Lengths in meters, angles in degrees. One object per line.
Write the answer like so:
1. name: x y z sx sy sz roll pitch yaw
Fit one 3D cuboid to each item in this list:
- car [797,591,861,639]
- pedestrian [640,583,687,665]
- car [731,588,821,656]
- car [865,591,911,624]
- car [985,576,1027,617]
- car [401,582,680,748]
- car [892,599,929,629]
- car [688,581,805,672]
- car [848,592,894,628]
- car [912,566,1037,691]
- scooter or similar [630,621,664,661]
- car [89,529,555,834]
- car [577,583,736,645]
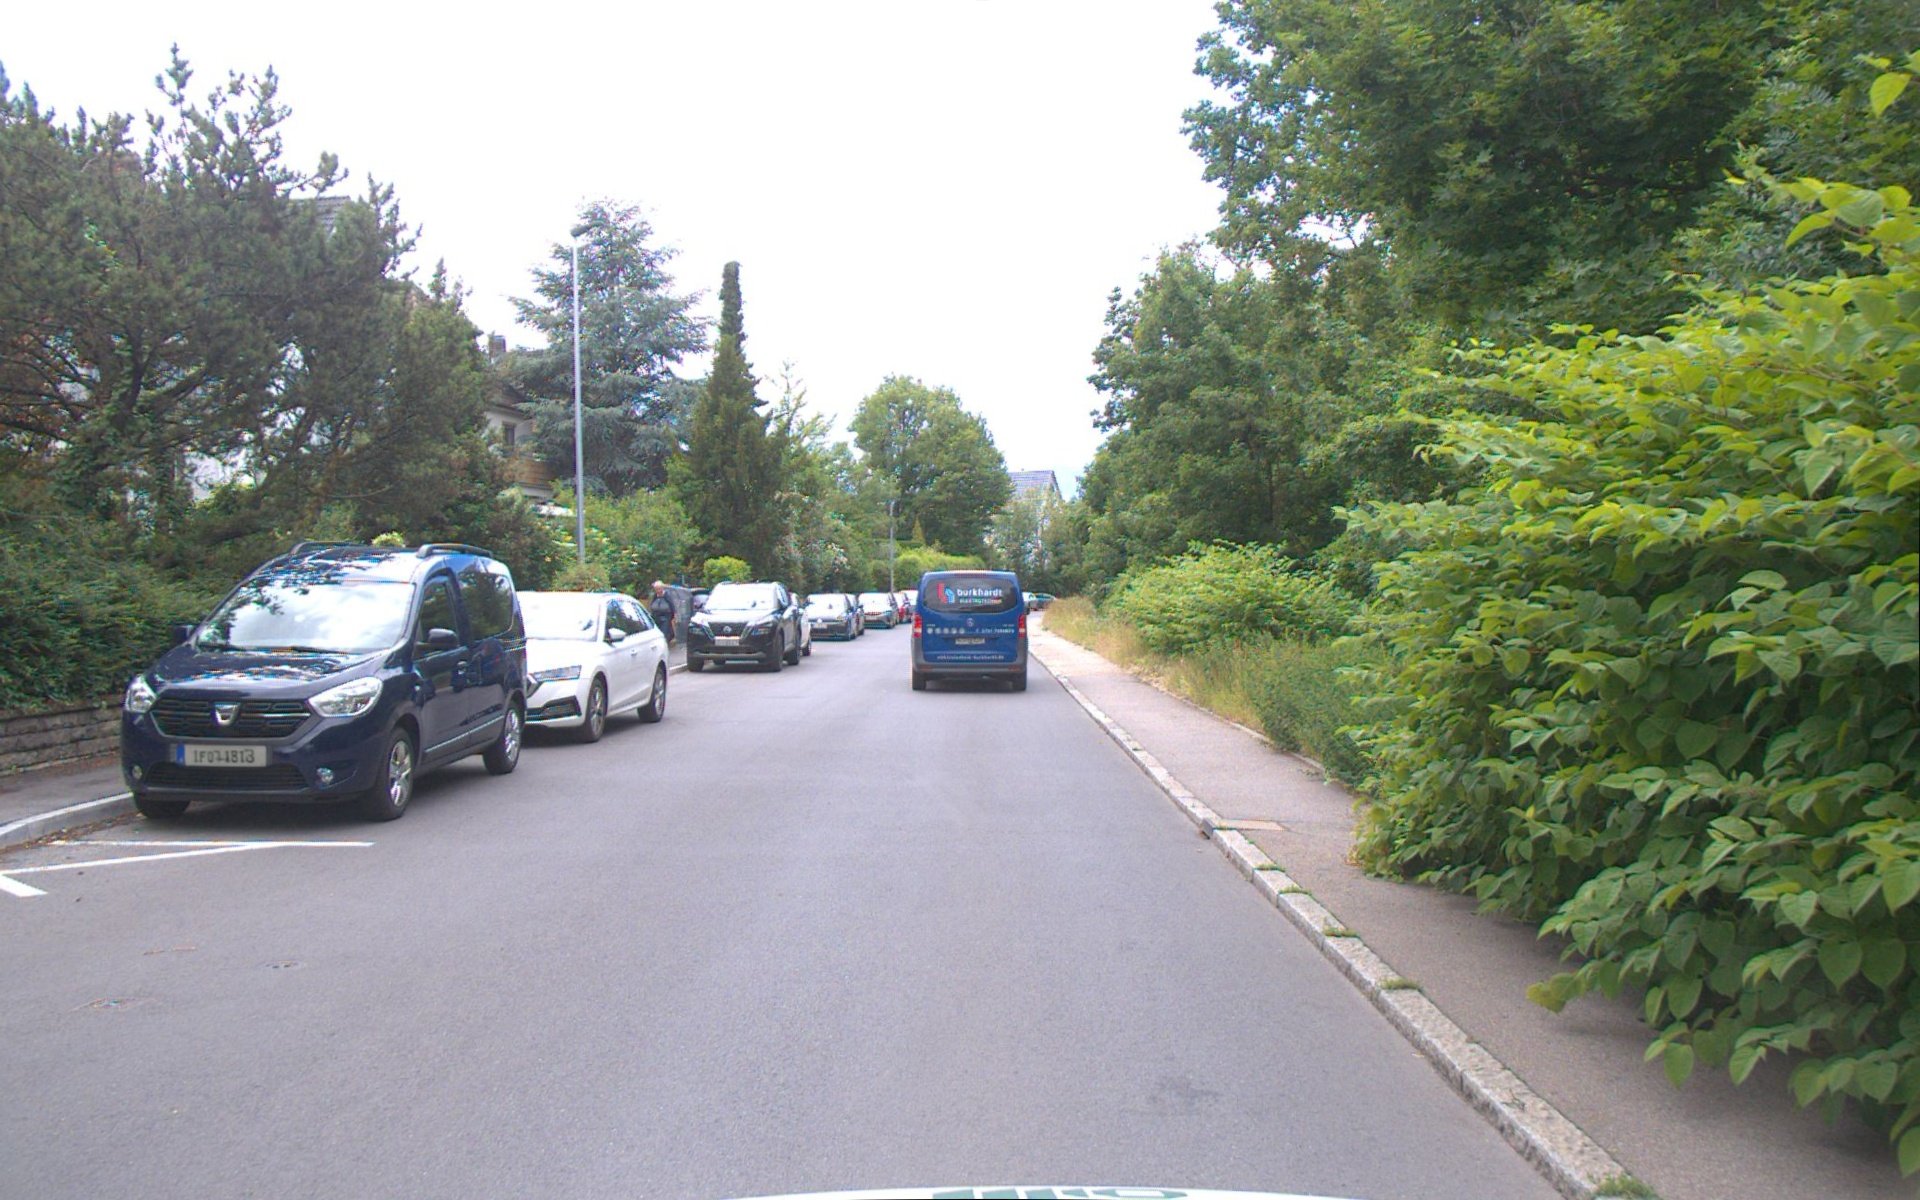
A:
1. car: -4.104 0.441 52.260 1.672 1.441 4.149 0 0 0
2. pedestrian: -5.889 0.464 32.900 0.753 1.602 0.821 0 0 1
3. car: -4.330 0.491 39.431 1.672 1.538 3.946 0 0 0
4. car: -3.481 0.350 80.226 1.671 1.541 4.366 0 0 5
5. car: 2.418 -0.182 87.094 2.160 2.100 6.136 0 0 2
6. car: -4.306 0.594 17.722 1.671 1.538 4.556 0 0 2
7. car: -2.622 0.723 87.942 1.511 1.541 3.646 0 0 5
8. car: -4.191 0.474 33.077 1.755 1.693 4.392 0 0 0
9. car: -3.714 0.401 69.294 1.672 1.434 4.160 0 0 0
10. car: 0.192 0.422 27.561 1.897 1.913 4.530 0 0 -1
11. scooter or similar: -6.317 0.828 33.378 0.559 0.792 0.711 0 0 -1
12. car: -4.377 0.477 12.131 1.671 1.831 4.298 0 0 1
13. car: -8.400 0.358 45.843 3.902 1.574 1.843 1 0 15
